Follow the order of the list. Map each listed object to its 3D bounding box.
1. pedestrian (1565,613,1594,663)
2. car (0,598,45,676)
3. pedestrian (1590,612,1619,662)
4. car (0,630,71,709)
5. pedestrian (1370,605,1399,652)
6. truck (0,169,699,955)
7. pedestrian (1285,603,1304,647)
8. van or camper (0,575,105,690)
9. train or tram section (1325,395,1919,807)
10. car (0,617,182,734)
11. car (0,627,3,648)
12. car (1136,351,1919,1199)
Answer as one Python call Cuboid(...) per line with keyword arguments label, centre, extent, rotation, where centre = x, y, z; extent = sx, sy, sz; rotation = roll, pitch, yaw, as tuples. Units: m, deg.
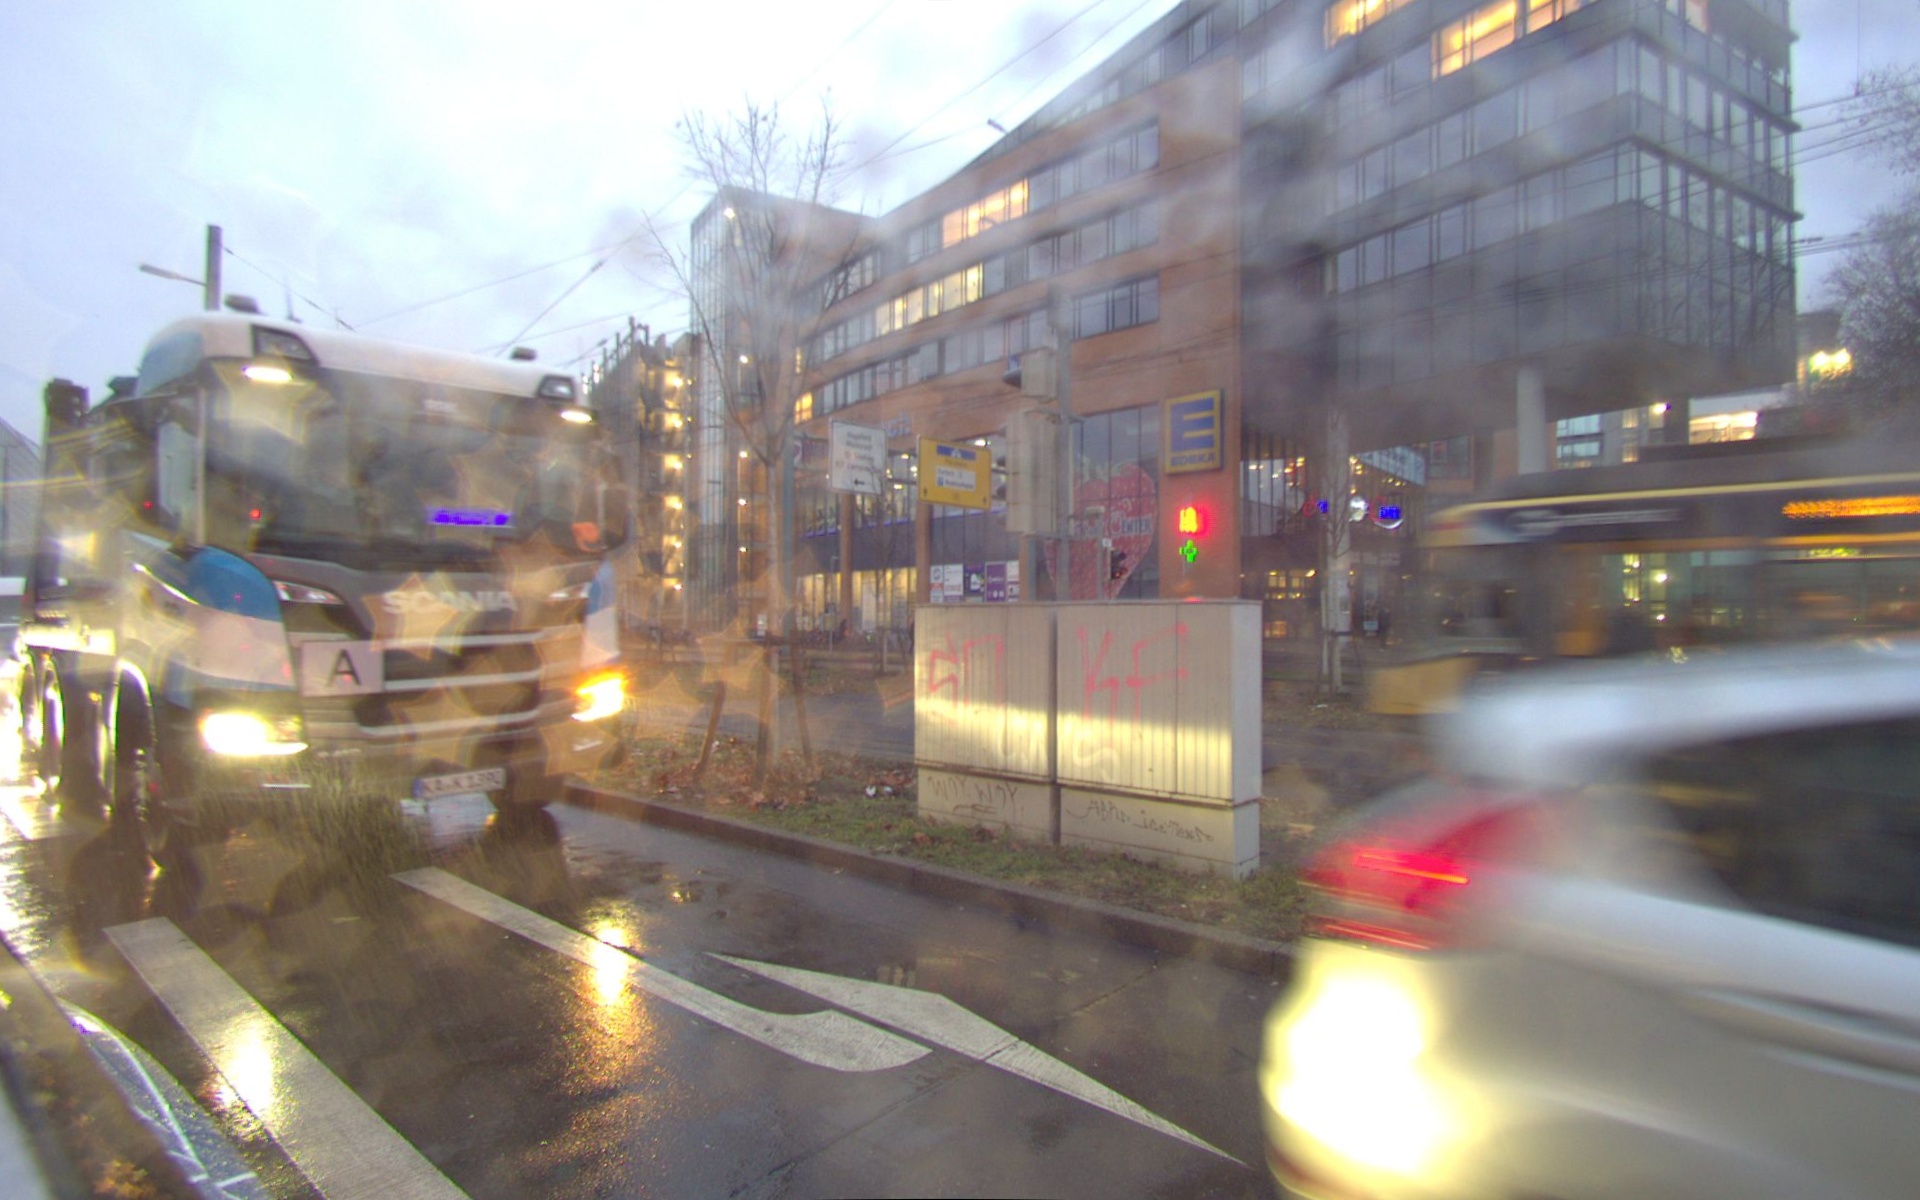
Cuboid(label="pedestrian", centre=(23.369, 1.435, 38.201), extent=(0.723, 1.878, 0.574), rotation=(1, -2, -13))
Cuboid(label="car", centre=(-37.653, 1.426, 39.550), extent=(5.810, 2.885, 2.102), rotation=(-1, -2, 41))
Cuboid(label="pedestrian", centre=(24.469, 1.417, 38.434), extent=(0.723, 1.878, 0.574), rotation=(1, -2, -14))
Cuboid(label="car", centre=(-18.280, 1.270, 19.220), extent=(4.057, 1.355, 1.735), rotation=(-1, -2, 43))
Cuboid(label="pedestrian", centre=(16.085, 1.083, 38.389), extent=(0.782, 1.766, 0.704), rotation=(0, -2, -1))
Cuboid(label="truck", centre=(-5.540, -0.111, 8.233), extent=(7.521, 3.661, 2.810), rotation=(-1, -2, 40))
Cuboid(label="pedestrian", centre=(13.560, 1.024, 41.061), extent=(0.658, 1.766, 0.534), rotation=(0, -2, 12))
Cuboid(label="van or camper", centre=(-23.184, 0.787, 25.035), extent=(5.894, 2.551, 2.126), rotation=(-1, -2, 40))
Cuboid(label="train or tram section", centre=(13.048, -0.031, 7.000), extent=(20.052, 3.642, 2.836), rotation=(-1, -2, 40))
Cuboid(label="car", centre=(-13.243, 1.039, 15.262), extent=(3.939, 1.535, 1.613), rotation=(-1, -2, 41))
Cuboid(label="car", centre=(-83.284, 3.155, 84.991), extent=(3.933, 1.806, 1.887), rotation=(1, -2, -33))
Cuboid(label="car", centre=(2.388, 0.497, 1.134), extent=(3.999, 1.458, 1.687), rotation=(3, 1, 41))
